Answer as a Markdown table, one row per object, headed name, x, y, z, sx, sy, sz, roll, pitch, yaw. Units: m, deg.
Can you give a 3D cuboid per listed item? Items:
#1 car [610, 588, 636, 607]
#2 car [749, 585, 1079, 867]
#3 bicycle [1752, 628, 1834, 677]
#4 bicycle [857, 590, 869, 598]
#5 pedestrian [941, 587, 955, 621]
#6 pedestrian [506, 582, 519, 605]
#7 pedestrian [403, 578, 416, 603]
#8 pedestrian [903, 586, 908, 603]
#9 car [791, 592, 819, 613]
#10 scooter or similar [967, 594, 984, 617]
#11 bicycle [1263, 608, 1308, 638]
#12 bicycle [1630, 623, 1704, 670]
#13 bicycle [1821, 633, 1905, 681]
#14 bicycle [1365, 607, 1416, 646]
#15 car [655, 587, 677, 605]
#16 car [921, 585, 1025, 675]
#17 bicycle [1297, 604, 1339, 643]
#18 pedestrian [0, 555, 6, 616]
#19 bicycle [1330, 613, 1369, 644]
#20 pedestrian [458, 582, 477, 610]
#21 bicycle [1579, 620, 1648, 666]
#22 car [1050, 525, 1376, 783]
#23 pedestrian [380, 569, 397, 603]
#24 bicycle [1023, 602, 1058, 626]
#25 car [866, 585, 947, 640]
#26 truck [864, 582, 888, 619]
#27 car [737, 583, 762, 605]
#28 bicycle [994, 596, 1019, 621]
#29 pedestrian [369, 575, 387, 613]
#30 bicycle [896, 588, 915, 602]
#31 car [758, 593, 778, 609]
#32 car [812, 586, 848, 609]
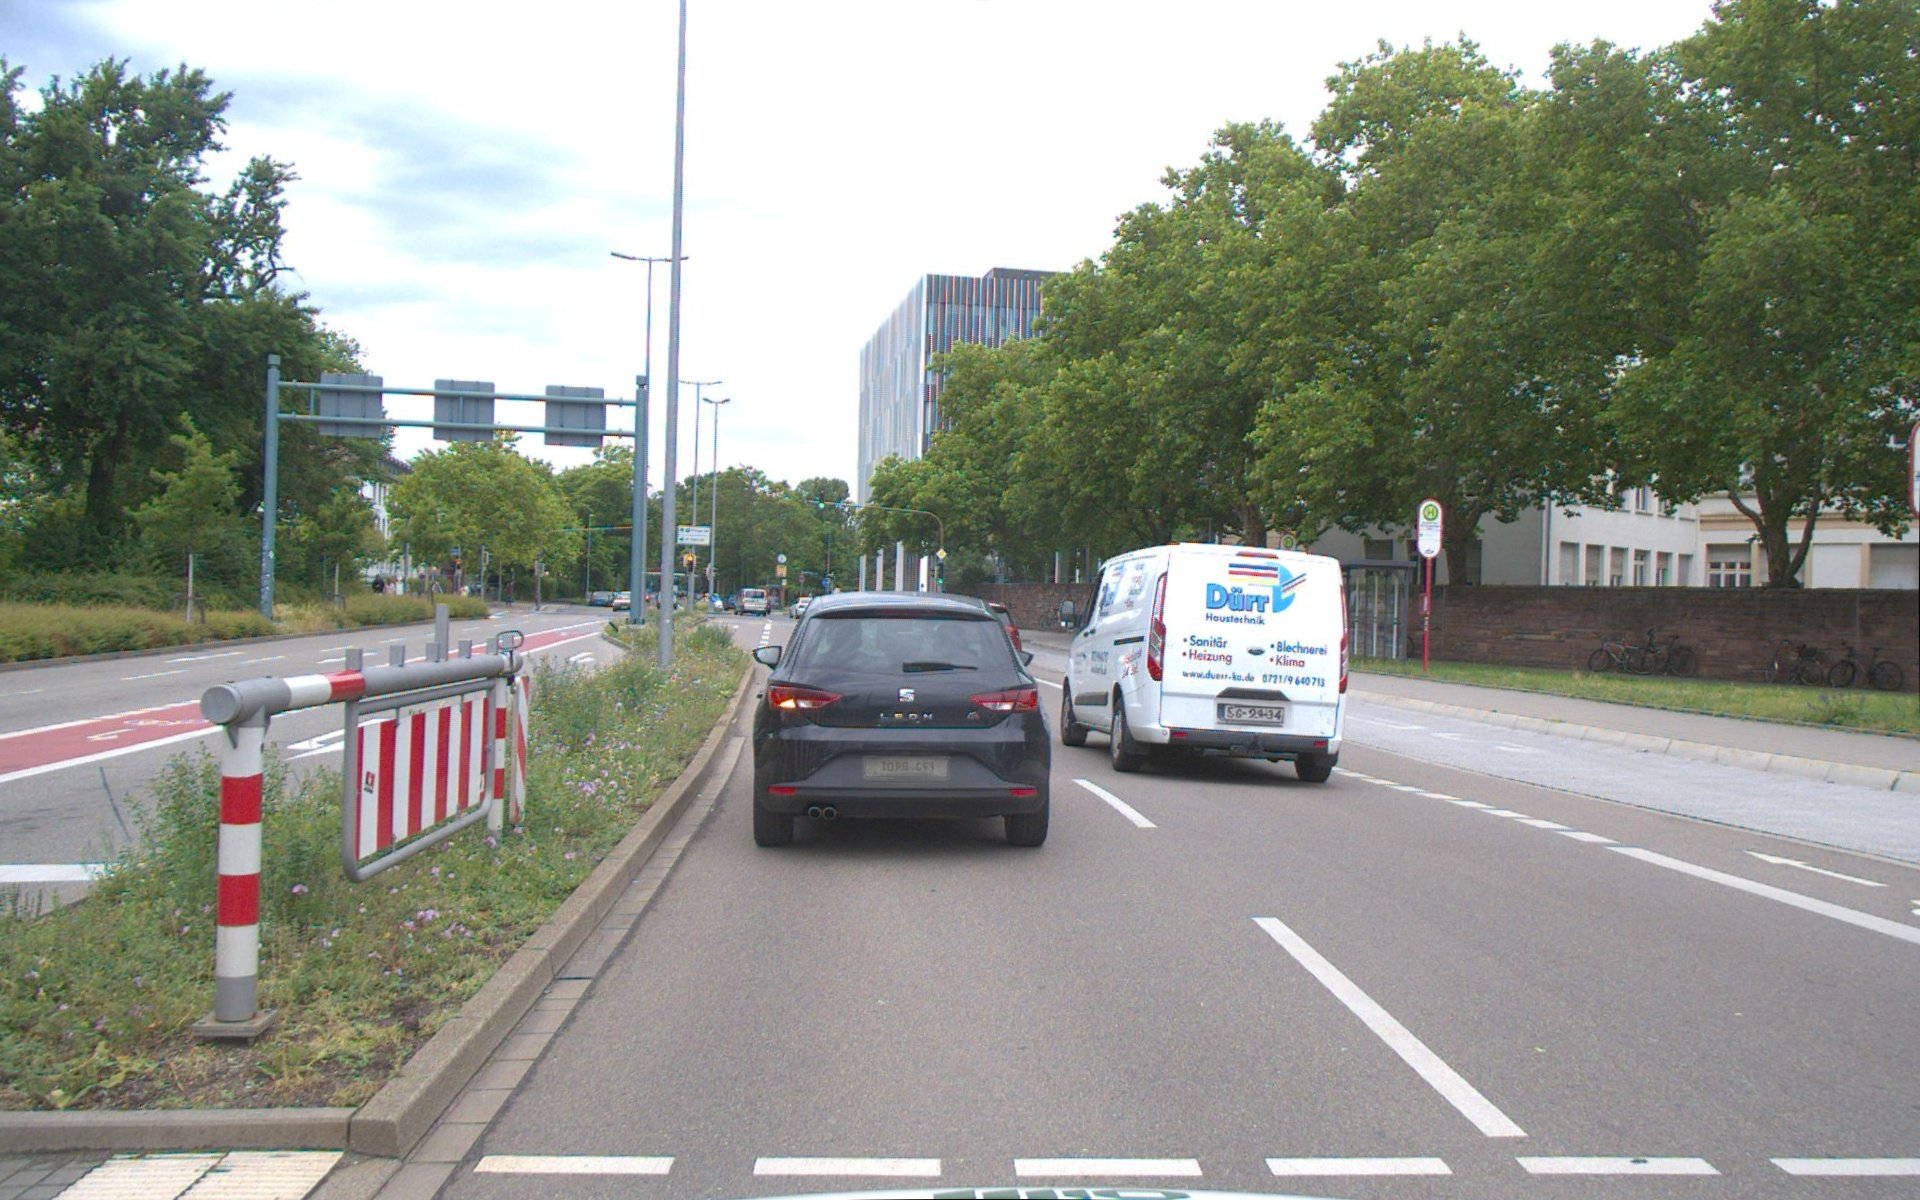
| name | x | y | z | sx | sy | sz | roll | pitch | yaw |
| --- | --- | --- | --- | --- | --- | --- | --- | --- | --- |
| car | -25.226 | -0.208 | 123.968 | 1.577 | 1.405 | 3.803 | 0 | 1 | -6 |
| car | -0.330 | 0.673 | 10.627 | 1.718 | 1.457 | 3.767 | 1 | 0 | -3 |
| bicycle | 19.923 | 1.252 | 39.595 | 0.588 | 1.077 | 1.694 | 0 | 1 | -32 |
| bicycle | -10.549 | -0.650 | 179.654 | 1.221 | 0.837 | 0.477 | 4 | -1 | -29 |
| pedestrian | -0.627 | 0.209 | 85.578 | 0.547 | 1.769 | 0.454 | 1 | 1 | 44 |
| pedestrian | -31.655 | -0.446 | 117.119 | 0.859 | 1.614 | 0.542 | 0 | 1 | -14 |
| pedestrian | -34.832 | -0.587 | 104.666 | 0.564 | 1.553 | 0.840 | 2 | -4 | -30 |
| pedestrian | -4.673 | -0.468 | 141.872 | 0.462 | 1.385 | 0.445 | 0 | 1 | 3 |
| car | -10.684 | 0.185 | 113.965 | 1.586 | 1.377 | 3.991 | 0 | 1 | -10 |
| scooter or similar | 0.846 | 0.311 | 90.002 | 0.423 | 1.199 | 1.704 | 0 | 1 | 18 |
| bicycle | 11.177 | 0.781 | 56.839 | 0.645 | 0.968 | 1.757 | 0 | 1 | -24 |
| bicycle | 18.147 | 1.183 | 42.480 | 0.588 | 1.149 | 1.694 | 0 | 1 | -32 |
| bicycle | 20.812 | 1.300 | 38.136 | 0.545 | 1.009 | 1.617 | 0 | 1 | -35 |
| bicycle | 13.333 | 0.811 | 51.252 | 0.589 | 1.123 | 1.641 | 0 | 1 | -26 |
| car | -25.241 | -0.363 | 142.030 | 1.733 | 1.486 | 4.777 | 0 | 0 | -12 |
| car | 0.204 | 0.572 | 34.371 | 1.910 | 1.652 | 3.747 | 3 | 1 | -2 |
| bicycle | 11.932 | 0.770 | 55.190 | 0.492 | 1.242 | 1.615 | 0 | 1 | -24 |
| pedestrian | -21.984 | -0.321 | 37.271 | 0.633 | 1.381 | 0.710 | 0 | 1 | -8 |
| bicycle | 12.580 | 0.905 | 53.464 | 0.410 | 0.959 | 1.514 | 0 | 1 | -24 |
| pedestrian | -31.413 | -0.251 | 105.530 | 0.817 | 1.770 | 0.836 | -4 | -5 | 44 |
| bicycle | 17.394 | 1.140 | 44.038 | 0.588 | 1.156 | 1.694 | 0 | 1 | -32 |
| car | 2.203 | 0.467 | 15.716 | 1.929 | 2.007 | 4.338 | 3 | -1 | -6 |
| pedestrian | -28.422 | -0.715 | 82.277 | 0.687 | 1.664 | 0.670 | 0 | 1 | -7 |
| bicycle | 3.781 | 0.642 | 77.798 | 0.926 | 1.092 | 1.957 | 0 | 1 | -21 |
| car | -1.800 | 0.382 | 54.069 | 1.882 | 1.693 | 4.100 | 0 | 1 | -14 |
| truck | -5.274 | 0.017 | 103.491 | 1.292 | 2.282 | 3.396 | 0 | 1 | -7 |
| car | -14.921 | -0.434 | 117.343 | 1.663 | 1.530 | 4.004 | 0 | 1 | -7 |
| bicycle | 2.330 | 0.426 | 83.055 | 0.789 | 1.194 | 1.949 | -1 | 1 | -11 |
| pedestrian | -27.182 | -0.290 | 77.262 | 0.608 | 1.759 | 0.817 | 0 | 1 | -7 |
| bicycle | -4.994 | -0.432 | 151.093 | 1.762 | 1.232 | 0.561 | 0 | 1 | -41 |
| car | -15.738 | 0.086 | 135.617 | 1.478 | 1.214 | 3.156 | 0 | 1 | -10 |
| car | -8.007 | -0.172 | 101.620 | 1.864 | 1.377 | 3.873 | 0 | 1 | -10 |
